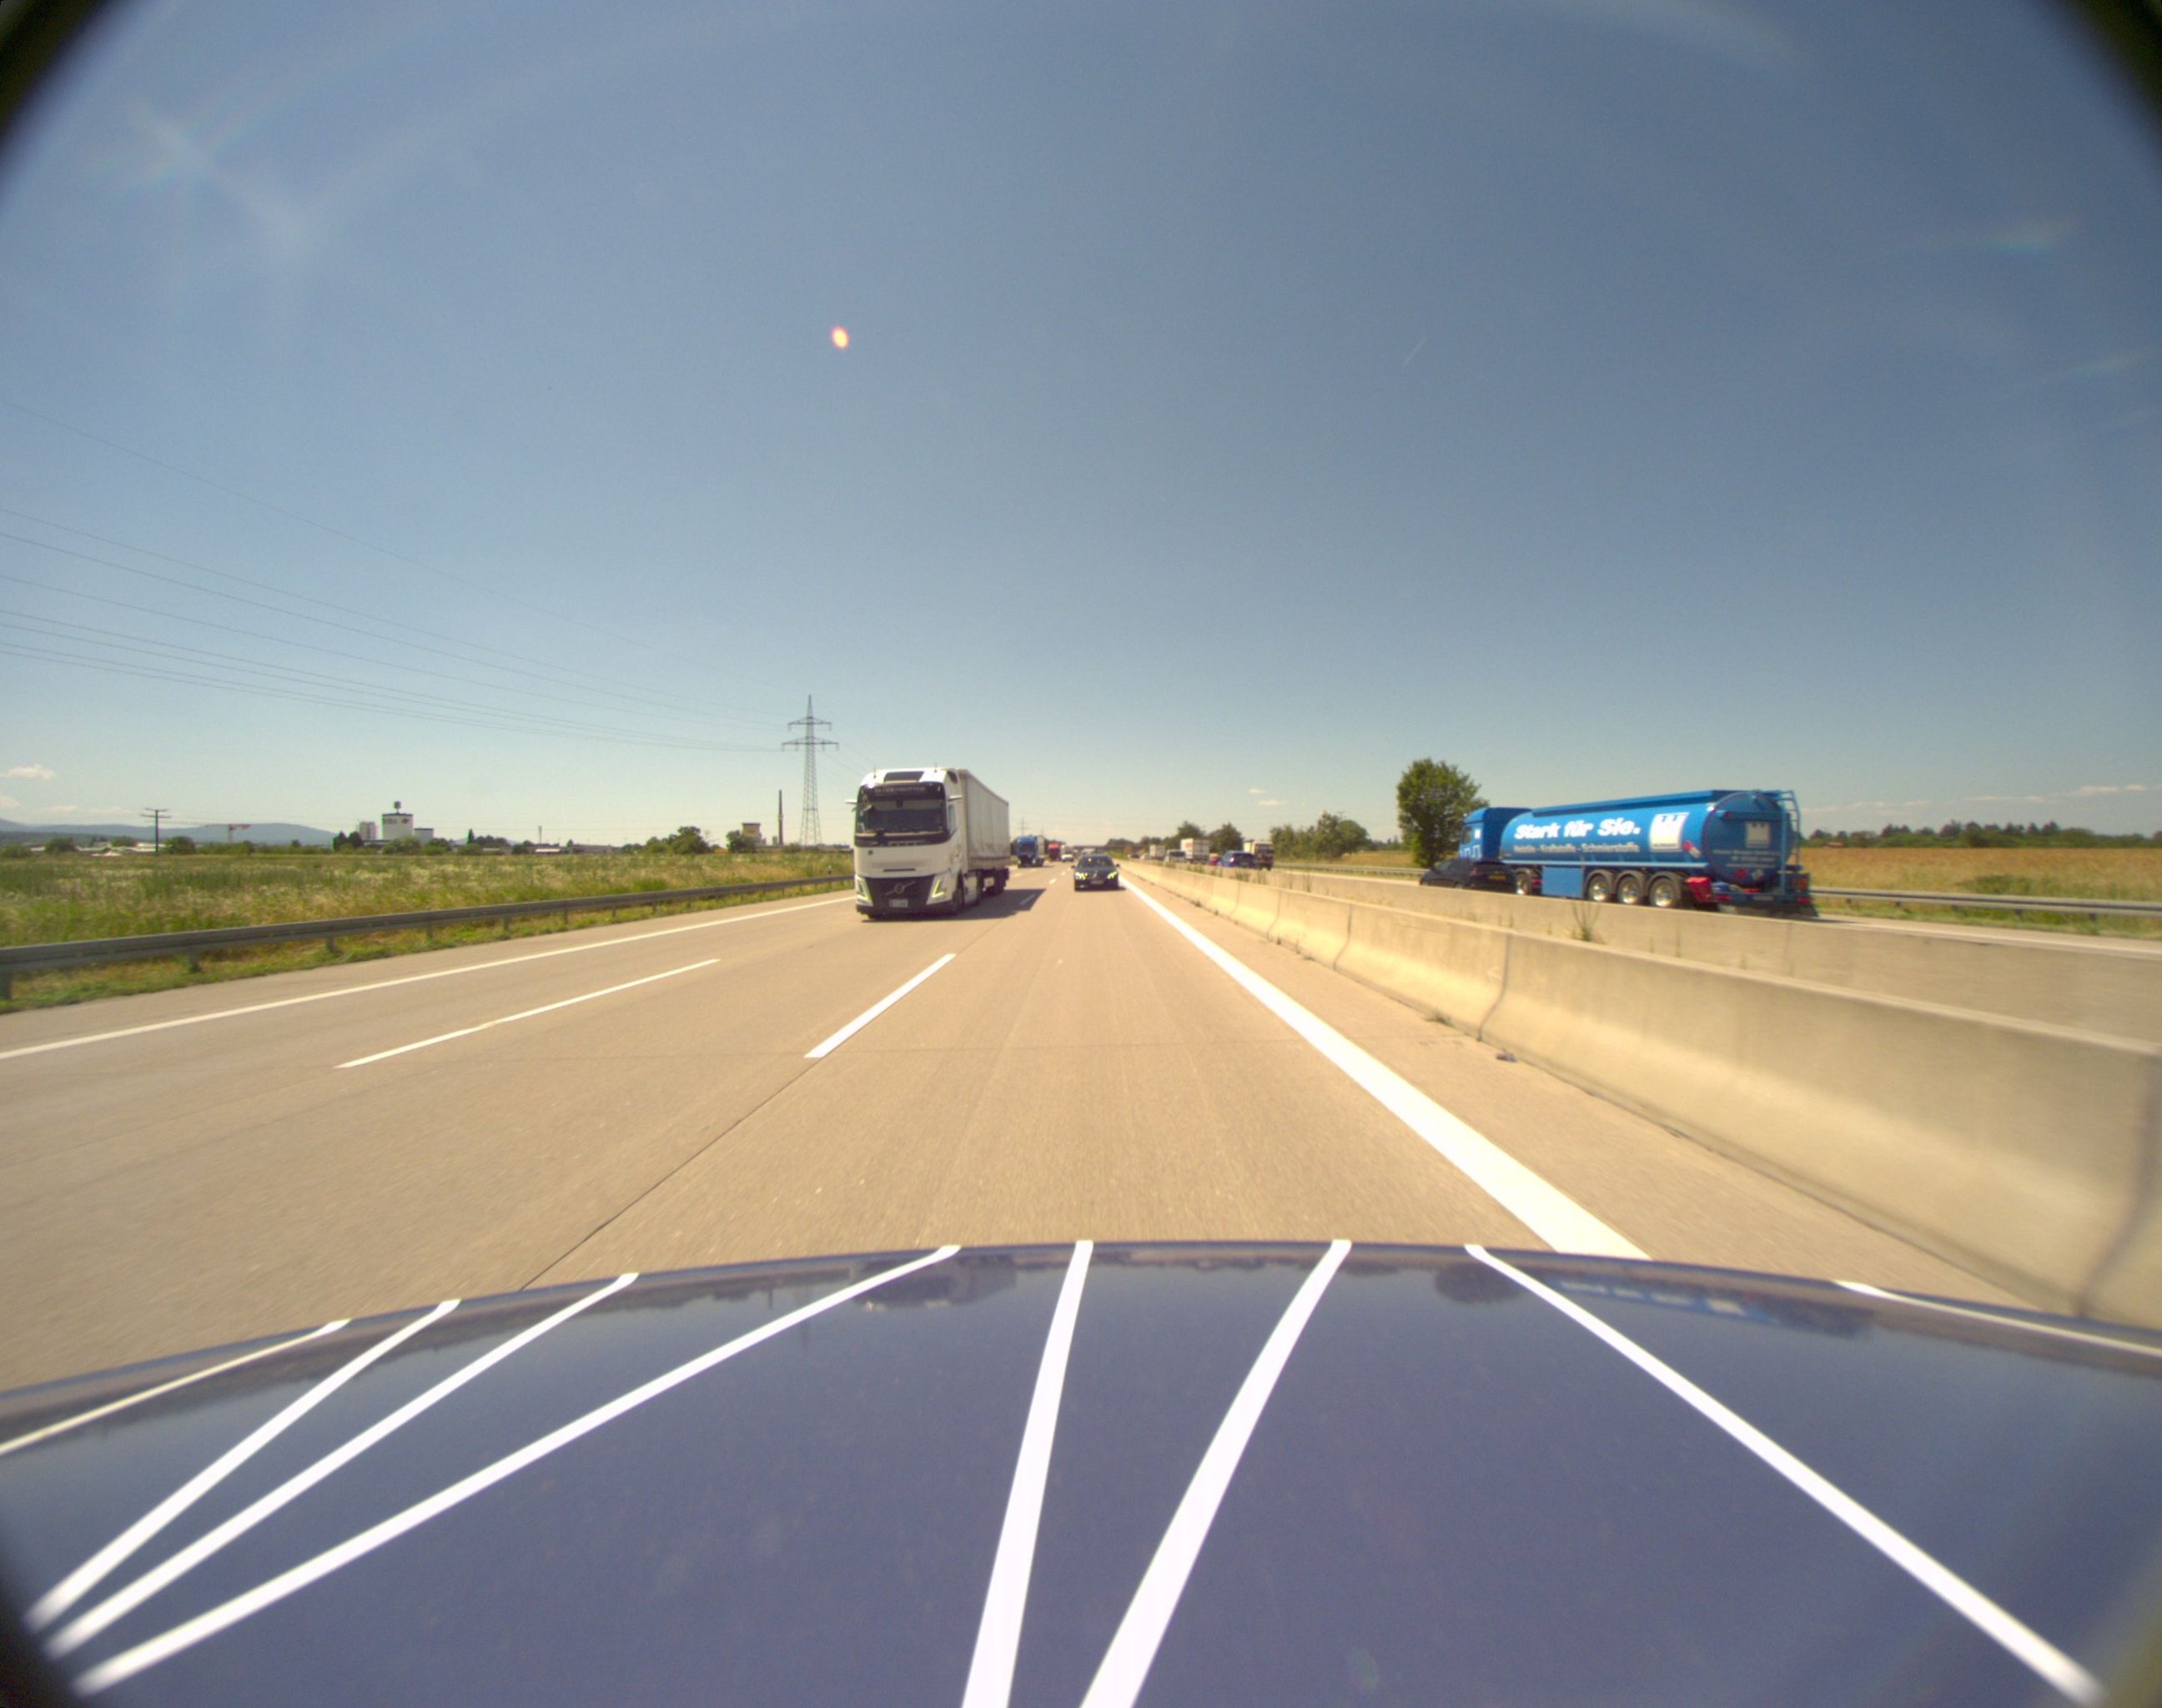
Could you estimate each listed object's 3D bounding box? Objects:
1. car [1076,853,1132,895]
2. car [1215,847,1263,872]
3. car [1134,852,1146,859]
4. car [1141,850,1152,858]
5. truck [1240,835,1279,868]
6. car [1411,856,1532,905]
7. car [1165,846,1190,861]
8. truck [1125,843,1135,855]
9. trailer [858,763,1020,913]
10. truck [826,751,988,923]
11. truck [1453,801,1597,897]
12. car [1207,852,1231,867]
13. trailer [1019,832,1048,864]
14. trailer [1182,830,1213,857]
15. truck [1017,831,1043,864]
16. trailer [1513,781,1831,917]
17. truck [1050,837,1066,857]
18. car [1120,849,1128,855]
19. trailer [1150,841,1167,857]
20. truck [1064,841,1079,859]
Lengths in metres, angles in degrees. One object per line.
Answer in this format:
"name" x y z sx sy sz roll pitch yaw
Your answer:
"car" 0.875 0.712 30.137 1.998 1.462 6.348 0 0 1
"car" 9.219 0.309 44.709 1.784 1.340 4.452 -4 0 -1
"car" 12.011 0.218 154.586 1.903 1.318 5.069 -2 0 0
"car" 15.094 0.095 174.754 1.999 1.574 4.370 6 -1 0
"truck" 18.093 -0.256 77.361 2.328 3.066 6.978 -2 0 1
"car" 13.259 0.835 26.173 1.724 1.440 4.708 -2 0 0
"car" 10.681 -0.069 84.211 2.144 1.669 5.644 0 0 1
"truck" 16.325 -1.631 252.648 2.750 4.056 5.540 -2 0 1
"trailer" -4.485 -0.463 28.085 3.025 4.037 14.206 -2 0 1
"truck" -4.545 -0.414 21.131 2.992 4.039 5.478 -2 0 1
"truck" 17.209 -0.195 29.879 2.490 3.348 5.263 -2 0 0
"car" 13.992 0.570 77.357 1.692 1.451 4.487 0 0 1
"trailer" -6.436 -0.789 104.612 2.715 4.020 12.902 -2 0 1
"trailer" 18.323 -1.541 120.208 2.916 3.886 12.510 -2 0 1
"truck" -6.524 -0.772 98.183 2.757 4.020 5.466 -2 0 1
"trailer" 17.196 -0.132 23.340 2.521 3.253 9.252 -2 0 0
"truck" -5.324 -1.633 178.418 2.855 4.297 10.886 -2 0 1
"car" 11.252 -0.451 198.870 1.732 1.476 4.117 -2 0 0
"trailer" 19.455 -1.150 191.597 2.777 3.780 13.828 -2 0 0
"truck" -1.892 -0.761 151.591 2.784 3.328 7.813 -2 0 0
